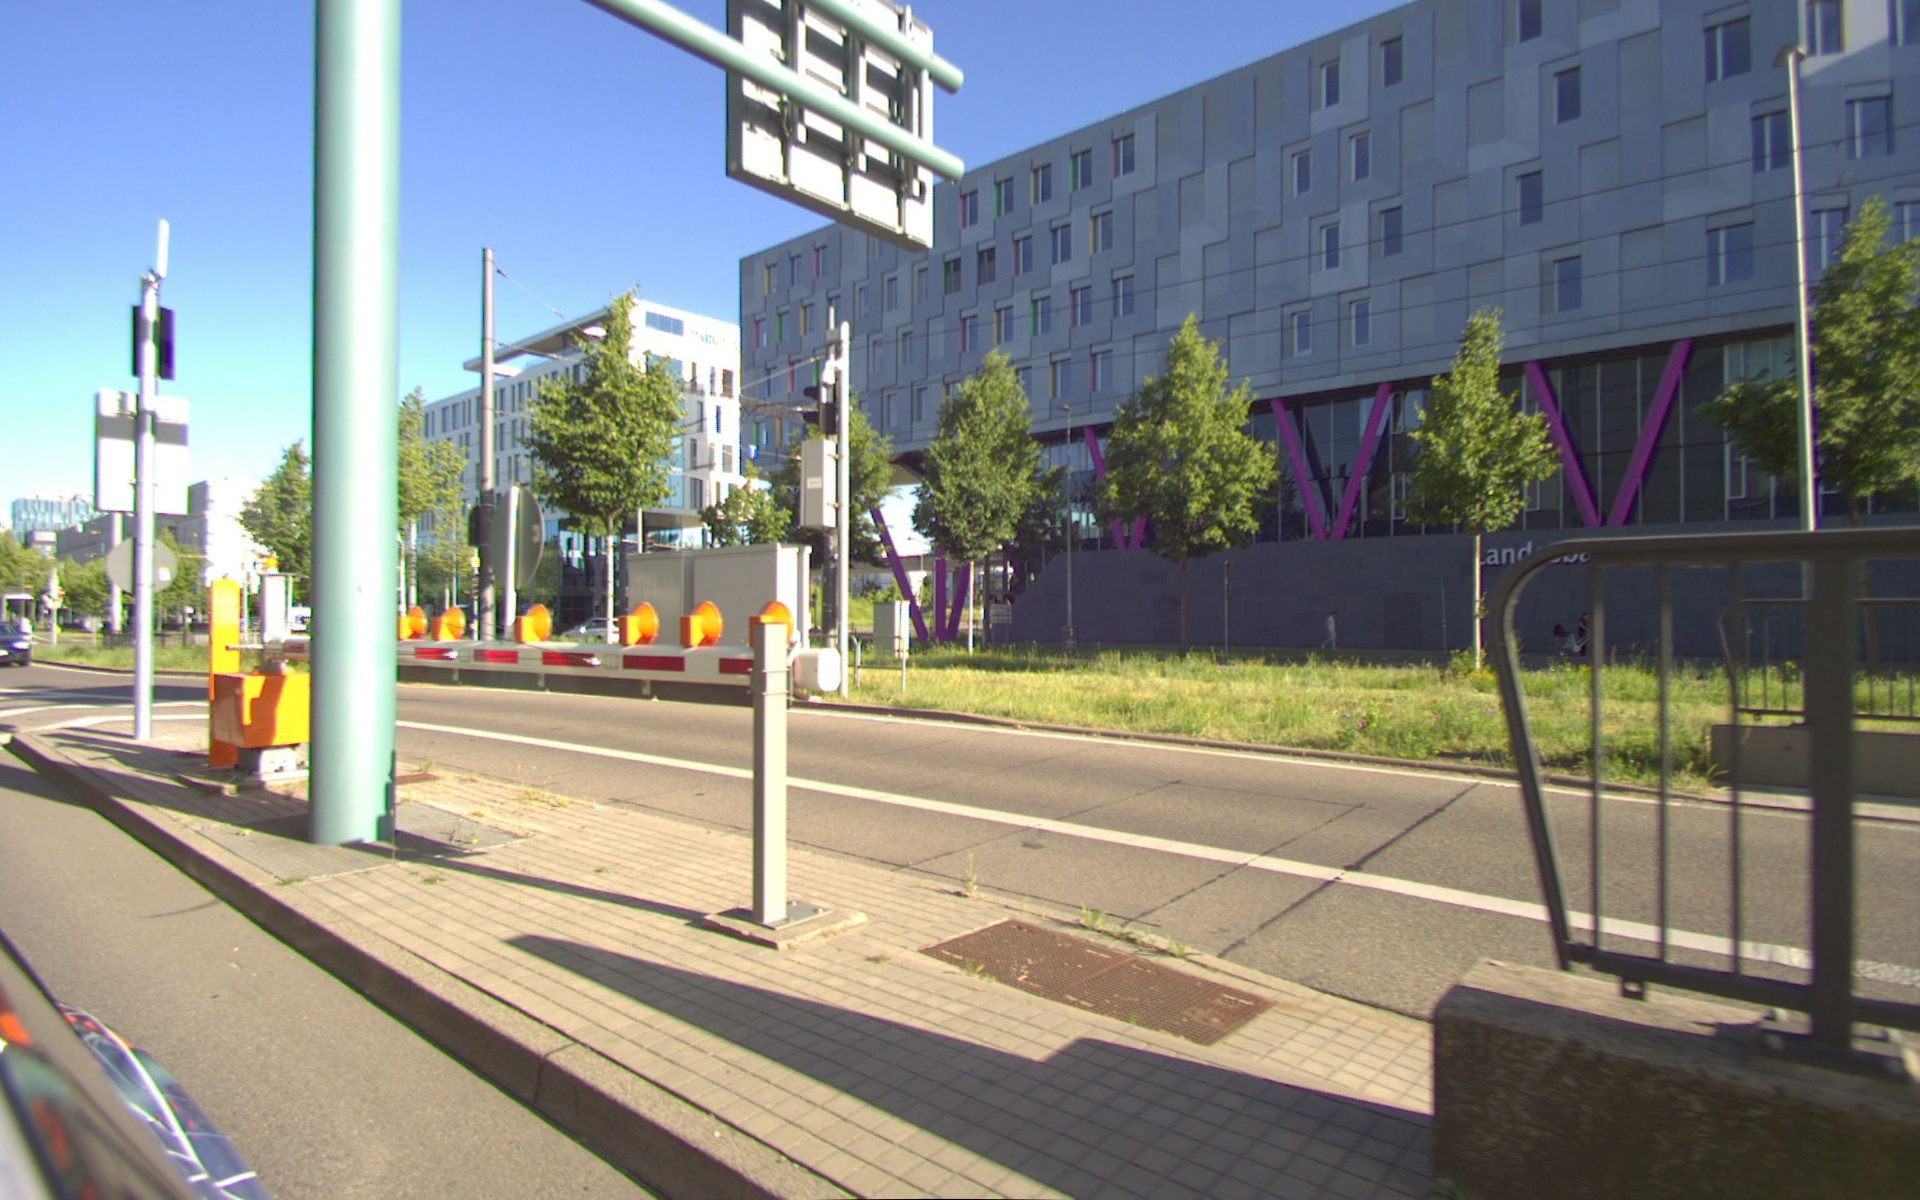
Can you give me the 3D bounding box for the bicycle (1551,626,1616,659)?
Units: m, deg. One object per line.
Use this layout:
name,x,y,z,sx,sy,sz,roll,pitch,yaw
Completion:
bicycle,23.078,1.556,37.497,1.974,1.181,0.514,-1,-2,41

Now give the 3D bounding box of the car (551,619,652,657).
car,-15.637,1.626,44.022,4.868,1.574,1.973,-1,-2,40

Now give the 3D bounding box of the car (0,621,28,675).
car,-29.429,1.440,30.252,4.340,1.538,1.780,-1,0,40

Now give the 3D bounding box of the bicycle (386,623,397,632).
bicycle,-59.782,2.911,106.369,1.691,0.869,0.476,-2,-2,41

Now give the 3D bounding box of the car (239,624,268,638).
car,-84.351,3.657,120.798,4.340,1.538,1.780,-1,0,40

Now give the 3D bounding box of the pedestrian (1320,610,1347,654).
pedestrian,16.116,1.375,43.639,0.871,1.836,0.713,-2,-2,42

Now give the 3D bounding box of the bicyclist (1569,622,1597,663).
bicyclist,23.082,1.556,37.496,0.763,1.507,0.552,-1,-2,41

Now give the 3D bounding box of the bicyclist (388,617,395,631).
bicyclist,-59.708,2.525,106.311,0.553,1.434,0.476,-2,-2,41

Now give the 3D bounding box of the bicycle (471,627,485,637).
bicycle,-45.020,2.983,94.533,1.833,0.869,0.522,-2,-2,43
